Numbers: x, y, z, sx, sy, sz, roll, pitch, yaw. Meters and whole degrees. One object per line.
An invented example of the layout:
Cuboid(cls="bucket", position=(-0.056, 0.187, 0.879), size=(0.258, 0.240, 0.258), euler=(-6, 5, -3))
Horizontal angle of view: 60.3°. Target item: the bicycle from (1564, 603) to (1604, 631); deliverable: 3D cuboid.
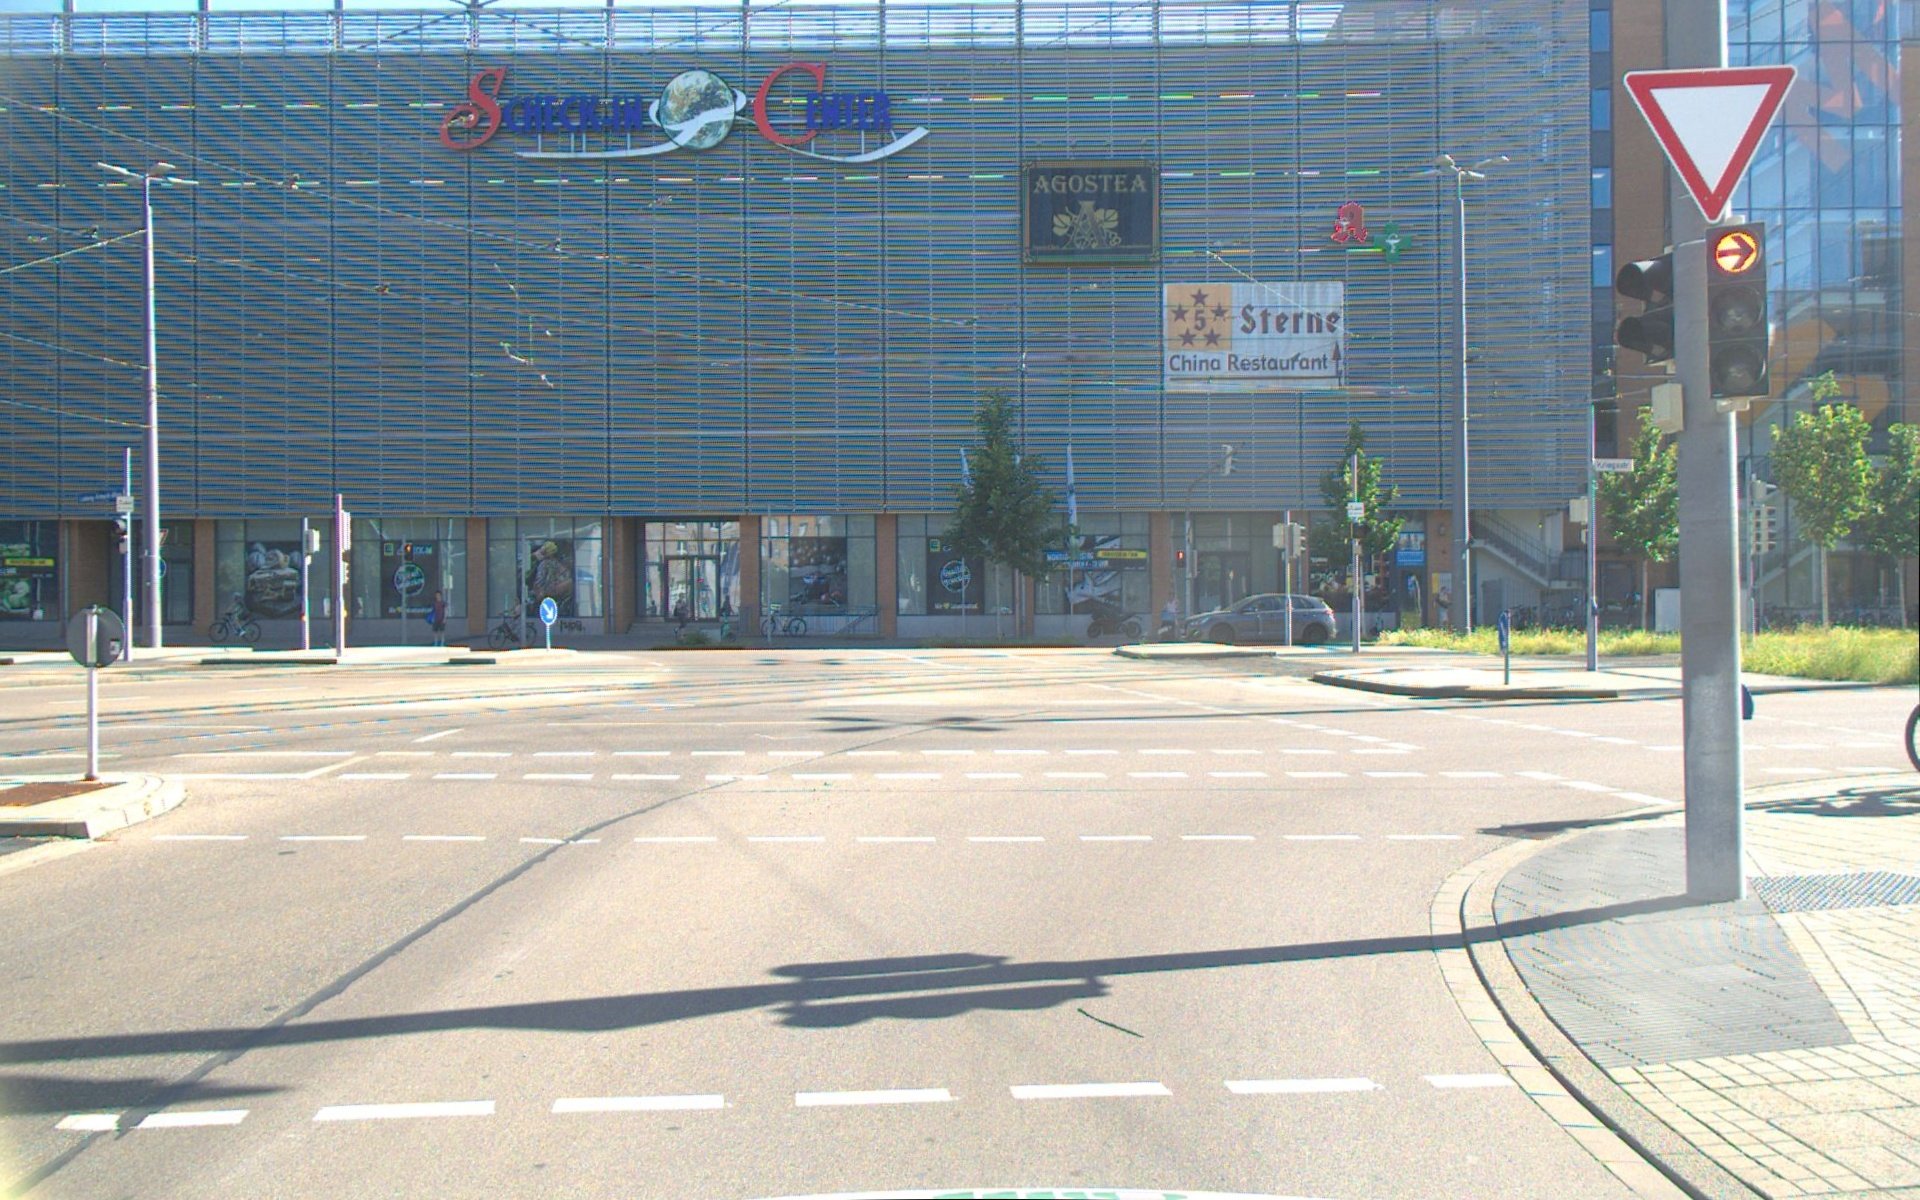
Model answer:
Cuboid(cls="bicycle", position=(23.361, 0.617, 61.939), size=(0.482, 0.971, 2.178), euler=(0, 1, -6))

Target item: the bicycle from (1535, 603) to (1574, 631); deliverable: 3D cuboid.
Cuboid(cls="bicycle", position=(22.238, 0.621, 61.947), size=(0.482, 0.971, 2.178), euler=(0, 1, -6))

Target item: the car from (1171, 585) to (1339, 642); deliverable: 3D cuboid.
Cuboid(cls="car", position=(8.116, 0.368, 45.760), size=(4.211, 1.526, 1.998), euler=(0, 0, -5))

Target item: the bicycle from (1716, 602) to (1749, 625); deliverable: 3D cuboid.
Cuboid(cls="bicycle", position=(29.400, 0.520, 62.954), size=(0.435, 0.833, 1.449), euler=(0, 1, -6))

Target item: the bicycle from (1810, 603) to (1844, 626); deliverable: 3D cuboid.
Cuboid(cls="bicycle", position=(32.959, 0.564, 62.883), size=(0.435, 0.833, 1.449), euler=(0, 1, -6))

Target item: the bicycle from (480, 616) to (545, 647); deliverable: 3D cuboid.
Cuboid(cls="bicycle", position=(-14.766, 1.034, 54.579), size=(1.997, 1.003, 0.553), euler=(0, 0, -34))

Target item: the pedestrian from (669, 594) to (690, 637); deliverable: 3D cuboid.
Cuboid(cls="pedestrian", position=(-10.225, 0.553, 60.241), size=(0.633, 1.545, 0.491), euler=(0, 0, 4))

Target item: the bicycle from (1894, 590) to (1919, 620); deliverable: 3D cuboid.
Cuboid(cls="bicycle", position=(38.747, 0.201, 66.762), size=(0.736, 1.143, 2.178), euler=(0, 1, -6))

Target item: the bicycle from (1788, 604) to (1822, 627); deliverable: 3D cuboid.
Cuboid(cls="bicycle", position=(32.181, 0.568, 62.993), size=(0.435, 0.833, 1.449), euler=(0, 1, -6))

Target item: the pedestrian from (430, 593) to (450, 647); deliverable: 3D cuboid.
Cuboid(cls="pedestrian", position=(-17.242, 0.665, 54.835), size=(0.614, 1.782, 0.586), euler=(0, 0, -19))

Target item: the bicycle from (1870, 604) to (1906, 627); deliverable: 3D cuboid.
Cuboid(cls="bicycle", position=(35.724, 0.584, 63.675), size=(0.435, 0.833, 1.449), euler=(0, 1, -6))

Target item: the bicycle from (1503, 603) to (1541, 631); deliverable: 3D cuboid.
Cuboid(cls="bicycle", position=(20.968, 0.628, 61.744), size=(0.482, 0.971, 2.178), euler=(0, 1, -6))

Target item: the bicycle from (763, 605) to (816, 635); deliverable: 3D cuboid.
Cuboid(cls="bicycle", position=(-6.215, 0.726, 60.474), size=(1.907, 1.056, 0.572), euler=(0, 0, -5))

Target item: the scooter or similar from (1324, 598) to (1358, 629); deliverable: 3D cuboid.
Cuboid(cls="scooter or similar", position=(14.255, 0.495, 61.917), size=(1.177, 1.122, 0.277), euler=(1, -1, 1))

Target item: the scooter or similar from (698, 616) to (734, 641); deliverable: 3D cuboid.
Cuboid(cls="scooter or similar", position=(-8.286, 0.968, 56.208), size=(1.198, 0.866, 0.301), euler=(0, 0, -4))

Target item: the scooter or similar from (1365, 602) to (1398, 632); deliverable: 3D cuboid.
Cuboid(cls="scooter or similar", position=(15.859, 0.647, 62.207), size=(1.177, 1.122, 0.277), euler=(1, -1, 1))

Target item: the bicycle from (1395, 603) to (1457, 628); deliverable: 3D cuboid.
Cuboid(cls="bicycle", position=(16.579, 0.552, 58.865), size=(2.000, 0.882, 0.682), euler=(0, 0, -2))

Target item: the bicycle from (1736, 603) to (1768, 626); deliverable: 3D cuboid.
Cuboid(cls="bicycle", position=(30.250, 0.547, 63.178), size=(0.435, 0.833, 1.449), euler=(0, 1, -6))

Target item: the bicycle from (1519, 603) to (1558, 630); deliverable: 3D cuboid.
Cuboid(cls="bicycle", position=(21.651, 0.611, 61.914), size=(0.482, 0.971, 2.178), euler=(0, 1, -6))

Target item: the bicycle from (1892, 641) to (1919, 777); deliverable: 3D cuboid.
Cuboid(cls="bicycle", position=(7.814, 0.828, 12.224), size=(0.593, 1.056, 1.893), euler=(-1, -1, -6))

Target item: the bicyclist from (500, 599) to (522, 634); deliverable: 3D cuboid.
Cuboid(cls="bicyclist", position=(-14.821, 0.538, 54.548), size=(0.557, 1.159, 0.553), euler=(0, 0, -34))

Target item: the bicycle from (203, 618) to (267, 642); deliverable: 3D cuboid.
Cuboid(cls="bicycle", position=(-25.640, 1.054, 58.508), size=(1.974, 0.825, 0.559), euler=(0, 0, -2))

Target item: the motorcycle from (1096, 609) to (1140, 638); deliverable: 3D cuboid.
Cuboid(cls="motorcycle", position=(5.801, 0.858, 60.724), size=(1.581, 1.056, 0.402), euler=(0, 0, 0))

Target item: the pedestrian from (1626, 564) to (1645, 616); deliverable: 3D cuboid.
Cuboid(cls="pedestrian", position=(25.278, -0.368, 61.899), size=(0.528, 1.948, 0.374), euler=(1, -1, 7))

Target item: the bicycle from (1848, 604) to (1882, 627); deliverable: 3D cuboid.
Cuboid(cls="bicycle", position=(34.810, 0.594, 63.629), size=(0.435, 0.833, 1.449), euler=(0, 1, -6))

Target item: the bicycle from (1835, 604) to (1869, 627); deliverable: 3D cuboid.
Cuboid(cls="bicycle", position=(34.265, 0.590, 63.558), size=(0.435, 0.833, 1.449), euler=(0, 1, -6))

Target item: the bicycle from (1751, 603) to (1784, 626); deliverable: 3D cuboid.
Cuboid(cls="bicycle", position=(30.903, 0.548, 63.321), size=(0.435, 0.833, 1.449), euler=(0, 1, -6))

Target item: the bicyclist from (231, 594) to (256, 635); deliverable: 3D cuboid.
Cuboid(cls="bicyclist", position=(-25.338, 0.516, 58.522), size=(0.641, 1.435, 0.559), euler=(0, 0, -2))

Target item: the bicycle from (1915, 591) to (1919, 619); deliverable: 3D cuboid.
Cuboid(cls="bicycle", position=(39.789, 0.215, 67.010), size=(0.736, 1.143, 2.178), euler=(0, 1, -6))

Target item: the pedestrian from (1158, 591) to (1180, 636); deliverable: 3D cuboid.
Cuboid(cls="pedestrian", position=(7.031, 0.449, 55.708), size=(0.723, 1.513, 0.490), euler=(0, 0, 9))
